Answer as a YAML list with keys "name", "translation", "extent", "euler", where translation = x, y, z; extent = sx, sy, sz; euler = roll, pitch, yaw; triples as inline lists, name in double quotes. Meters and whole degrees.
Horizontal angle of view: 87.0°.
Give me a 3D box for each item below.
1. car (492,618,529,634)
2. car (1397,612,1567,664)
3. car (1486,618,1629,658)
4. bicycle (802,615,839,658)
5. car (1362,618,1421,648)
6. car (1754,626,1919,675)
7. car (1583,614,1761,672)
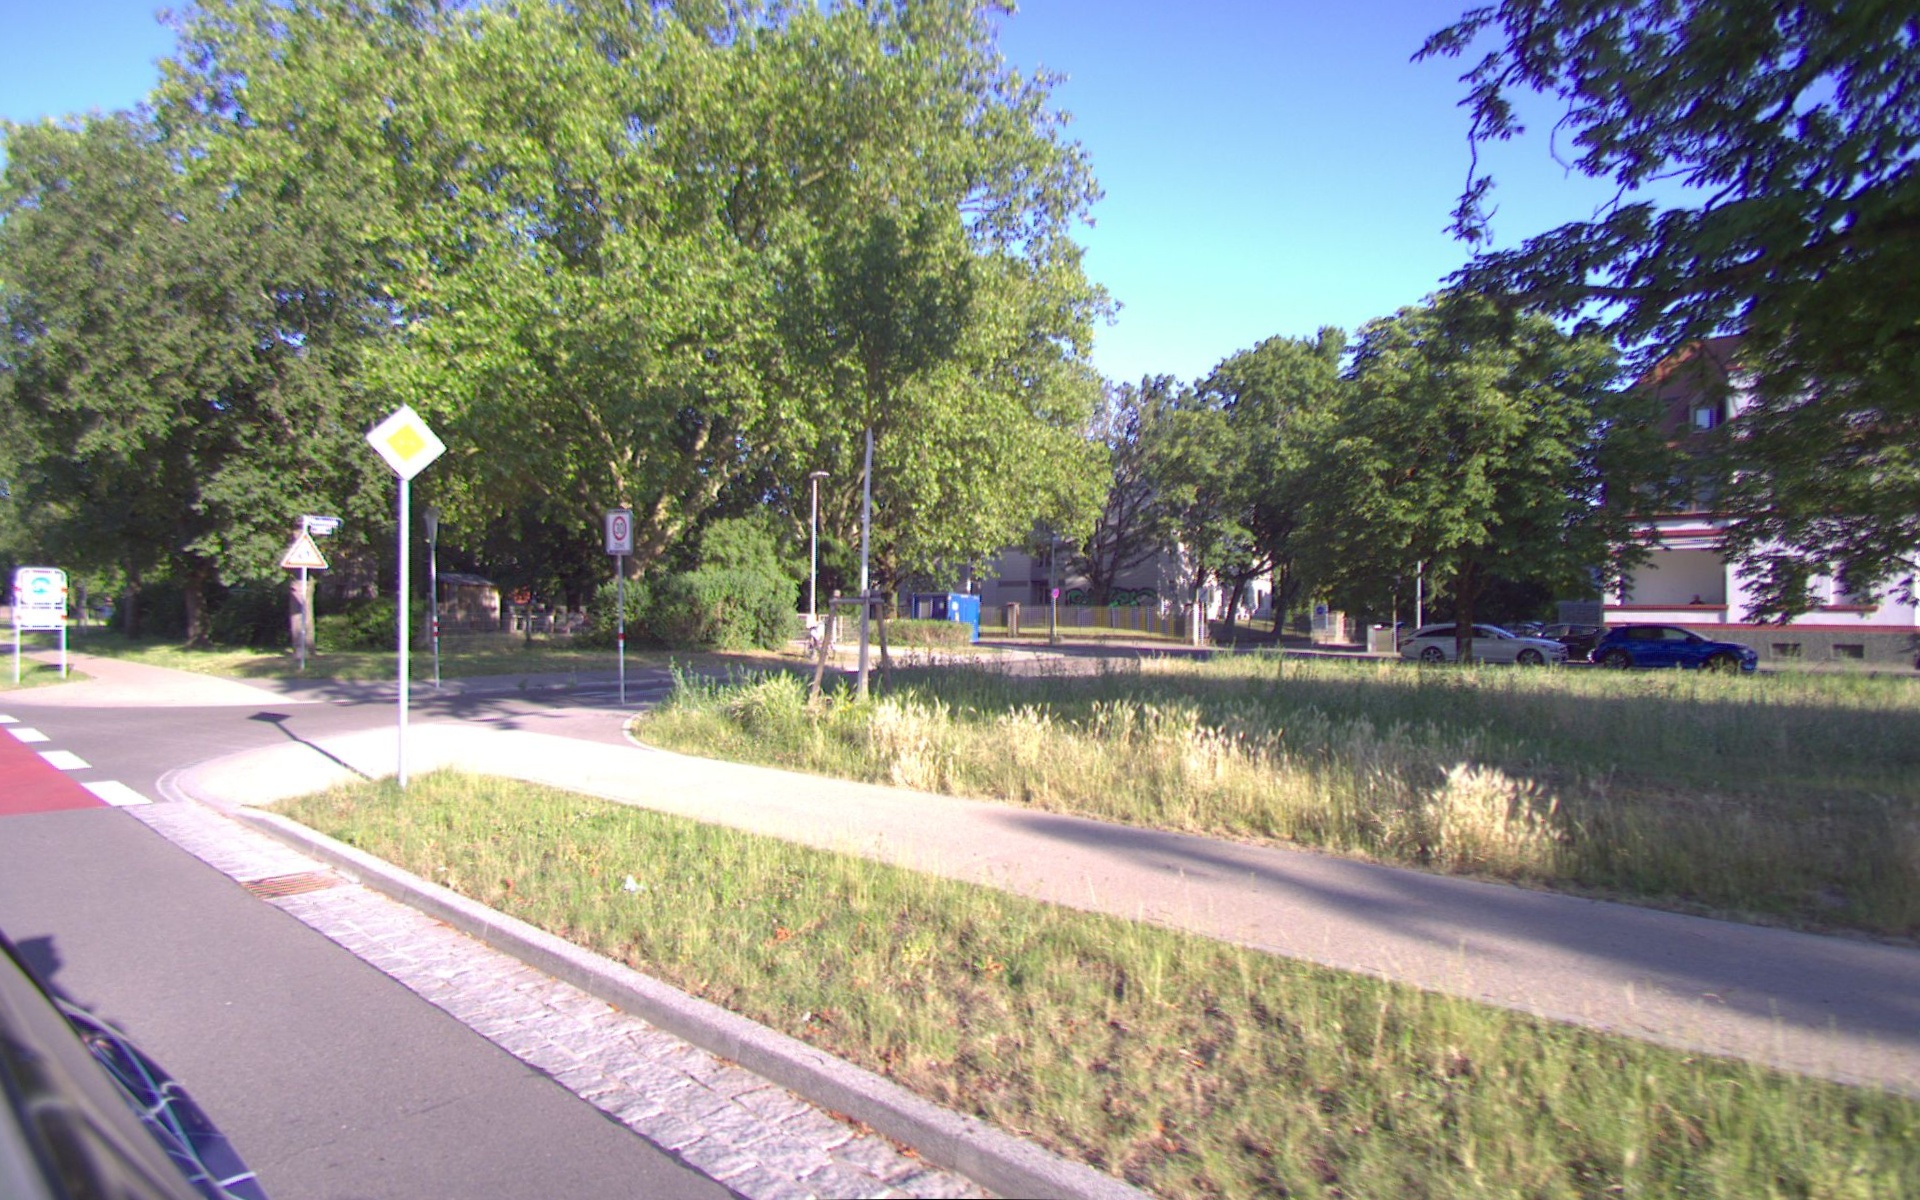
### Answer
- name: "car"
  translation: [-39.861, 2.261, 89.754]
  extent: [3.790, 1.378, 1.506]
  euler: [-1, -1, 41]
- name: "car"
  translation: [17.105, 1.192, 33.309]
  extent: [4.750, 1.609, 1.676]
  euler: [-1, -1, 38]
- name: "car"
  translation: [21.365, 1.326, 36.266]
  extent: [4.216, 1.325, 1.676]
  euler: [-1, -1, 38]
- name: "bicycle"
  translation: [-4.023, 1.037, 29.275]
  extent: [0.417, 1.196, 1.579]
  euler: [1, -1, 18]
- name: "car"
  translation: [23.951, 1.826, 56.167]
  extent: [1.833, 1.567, 3.944]
  euler: [-1, -2, 42]
- name: "car"
  translation: [27.380, 1.533, 31.691]
  extent: [3.851, 1.342, 1.553]
  euler: [0, 0, 42]
- name: "car"
  translation: [21.014, 1.217, 29.978]
  extent: [4.216, 1.609, 1.676]
  euler: [-1, -1, 38]
